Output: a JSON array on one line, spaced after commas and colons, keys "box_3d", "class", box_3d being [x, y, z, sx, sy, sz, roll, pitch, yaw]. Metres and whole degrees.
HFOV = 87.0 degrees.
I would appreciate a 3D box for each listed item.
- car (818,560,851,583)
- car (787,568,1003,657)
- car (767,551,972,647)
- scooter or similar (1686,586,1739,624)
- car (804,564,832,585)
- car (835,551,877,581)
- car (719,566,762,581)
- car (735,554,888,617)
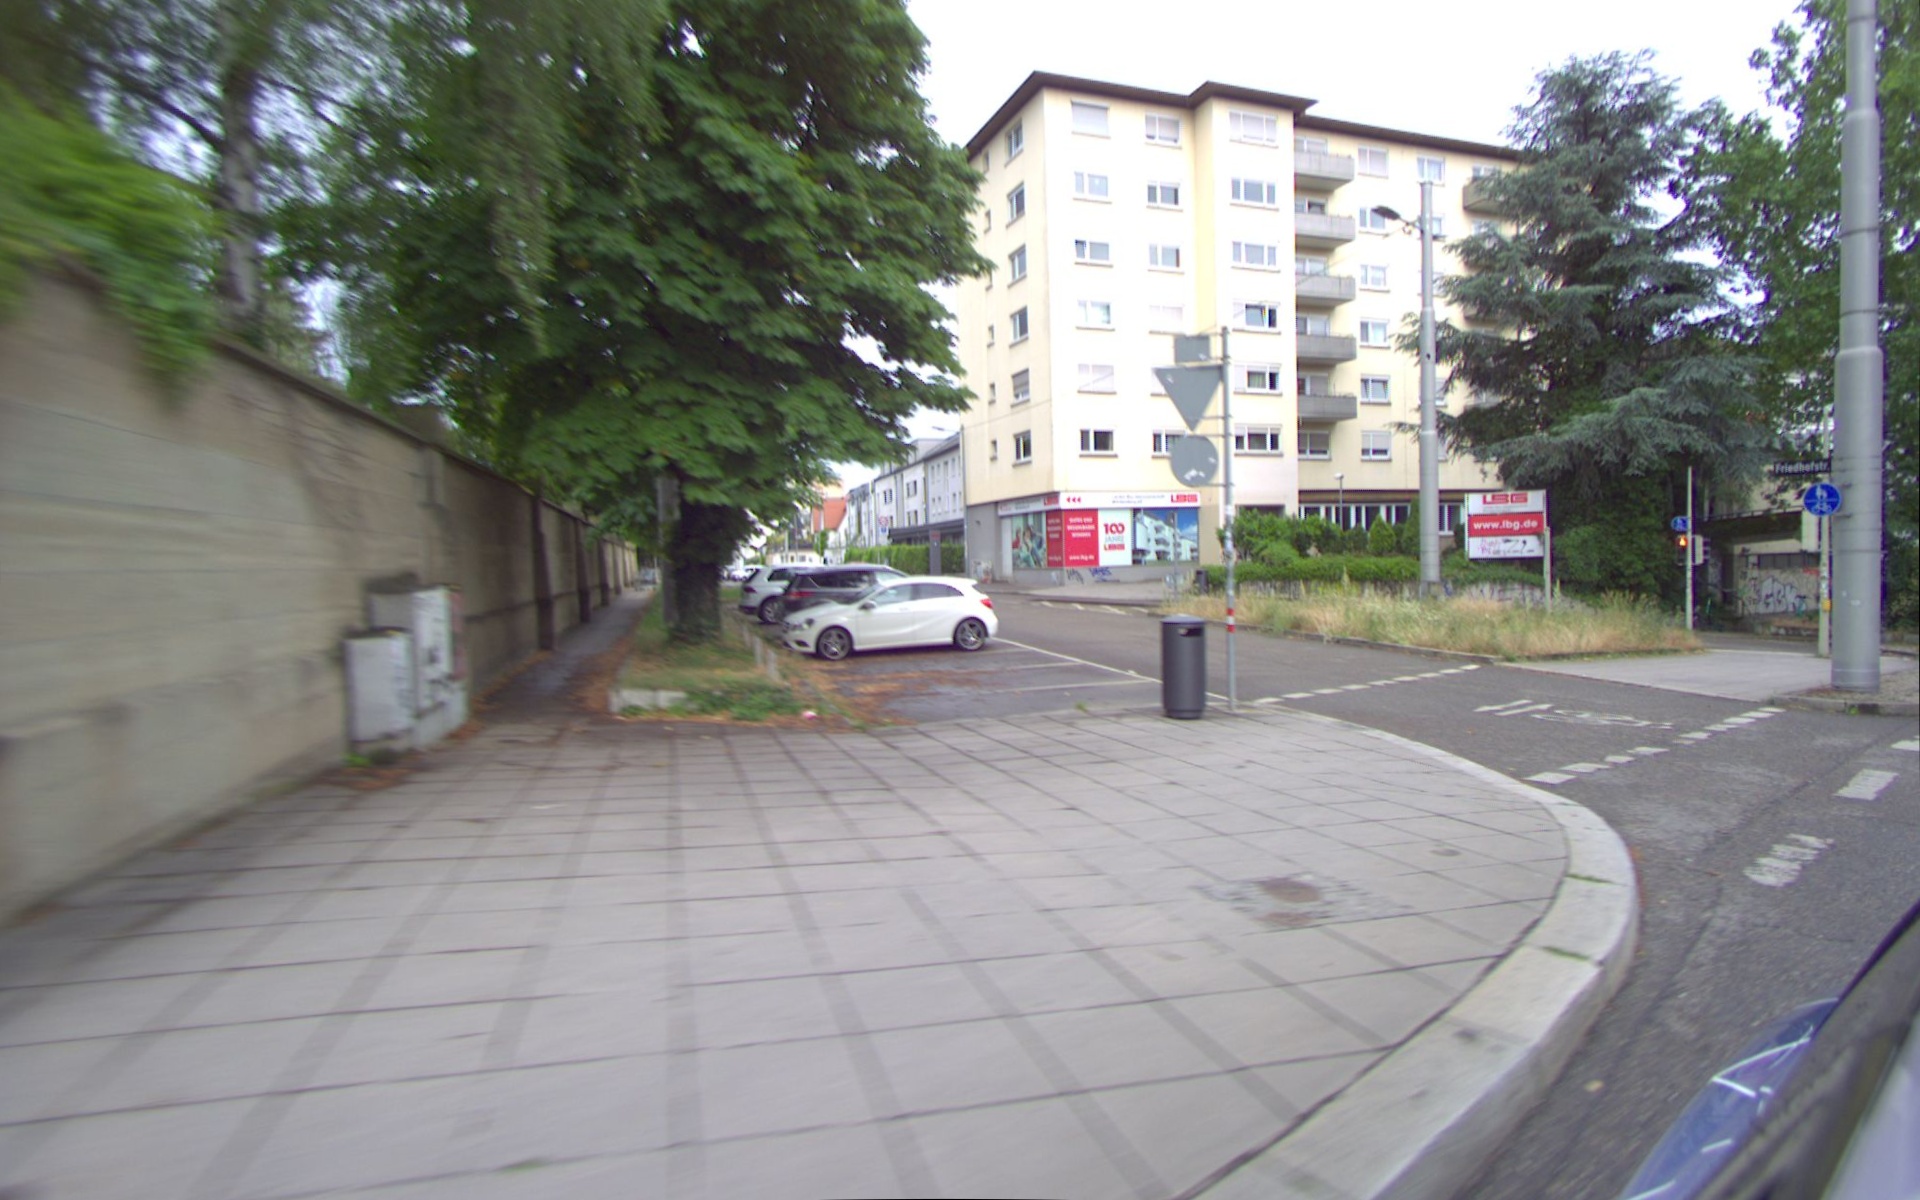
[{"box_3d": [-9.330, -2.104, 74.949, 1.762, 1.529, 4.008, -1, 0, -16], "class": "car"}, {"box_3d": [-1.310, 0.191, 19.874, 3.917, 1.423, 1.763, -3, 3, -15], "class": "car"}, {"box_3d": [-2.013, -0.087, 22.233, 4.185, 1.825, 1.763, -3, 3, -15], "class": "car"}, {"box_3d": [25.380, 0.178, 34.140, 1.880, 1.233, 0.603, 1, 2, -27], "class": "scooter or similar"}, {"box_3d": [-11.637, -2.063, 82.790, 1.762, 1.529, 4.008, -1, 0, -16], "class": "car"}, {"box_3d": [-6.653, -2.191, 64.391, 1.812, 1.772, 4.010, 1, 2, -18], "class": "car"}, {"box_3d": [-25.046, -3.031, 115.558, 4.420, 1.529, 1.798, -2, 0, -39], "class": "car"}, {"box_3d": [-4.310, -0.465, 29.219, 4.131, 1.575, 1.794, -3, 3, -14], "class": "car"}]
